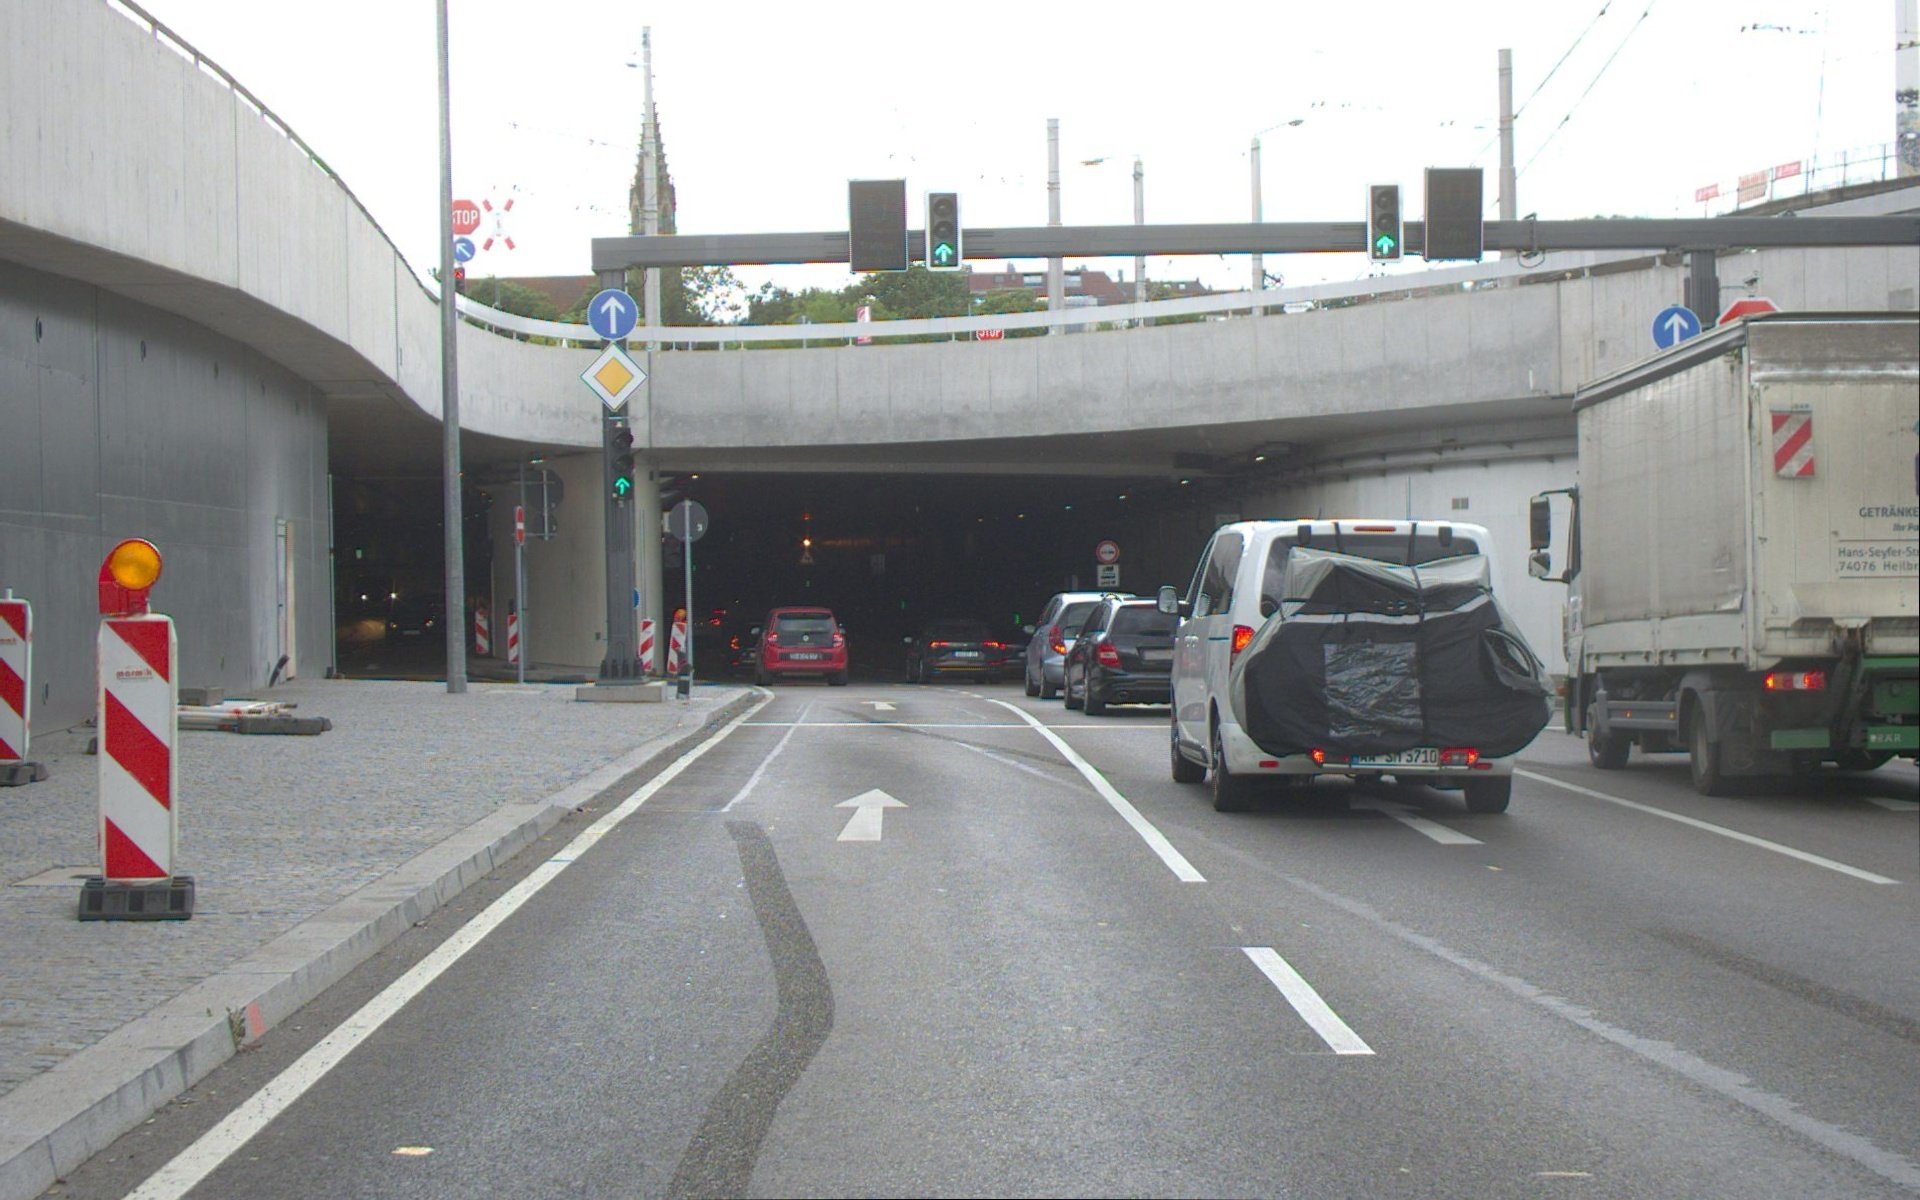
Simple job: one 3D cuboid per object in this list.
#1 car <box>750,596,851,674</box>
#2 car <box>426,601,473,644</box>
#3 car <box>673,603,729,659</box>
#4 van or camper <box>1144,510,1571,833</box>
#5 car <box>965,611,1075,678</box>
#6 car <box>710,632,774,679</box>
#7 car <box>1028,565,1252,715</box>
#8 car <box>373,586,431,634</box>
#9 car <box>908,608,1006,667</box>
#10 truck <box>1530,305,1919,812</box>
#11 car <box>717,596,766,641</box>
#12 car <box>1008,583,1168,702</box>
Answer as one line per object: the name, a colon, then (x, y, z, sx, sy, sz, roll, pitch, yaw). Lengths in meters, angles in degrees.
car: (-3.134, 0.685, 67.097, 1.660, 1.483, 3.568, 0, -1, -7)
car: (-20.526, 0.894, 138.371, 1.807, 1.599, 4.789, -1, 1, -8)
car: (-9.830, 1.156, 130.282, 1.993, 2.007, 4.001, 0, 1, -6)
van or camper: (2.457, 0.465, 22.683, 1.993, 1.839, 5.508, 1, -1, -2)
car: (1.506, 1.142, 88.734, 1.989, 1.670, 4.509, 0, -1, -10)
car: (-5.996, 1.518, 94.421, 1.508, 1.243, 3.568, 0, -1, -7)
car: (2.077, 0.443, 40.804, 1.818, 1.678, 4.001, 1, 0, -9)
car: (-17.539, 0.300, 108.133, 1.664, 1.436, 4.114, -1, 1, -8)
car: (-0.094, 0.808, 74.414, 1.663, 1.243, 3.568, 0, -1, -7)
truck: (6.225, -0.286, 25.309, 2.649, 3.174, 7.426, -1, 0, -1)
car: (-9.118, 0.765, 143.253, 1.993, 1.767, 4.001, 0, 1, -4)
car: (1.857, 0.597, 50.898, 1.818, 1.575, 4.001, 3, 0, -5)
